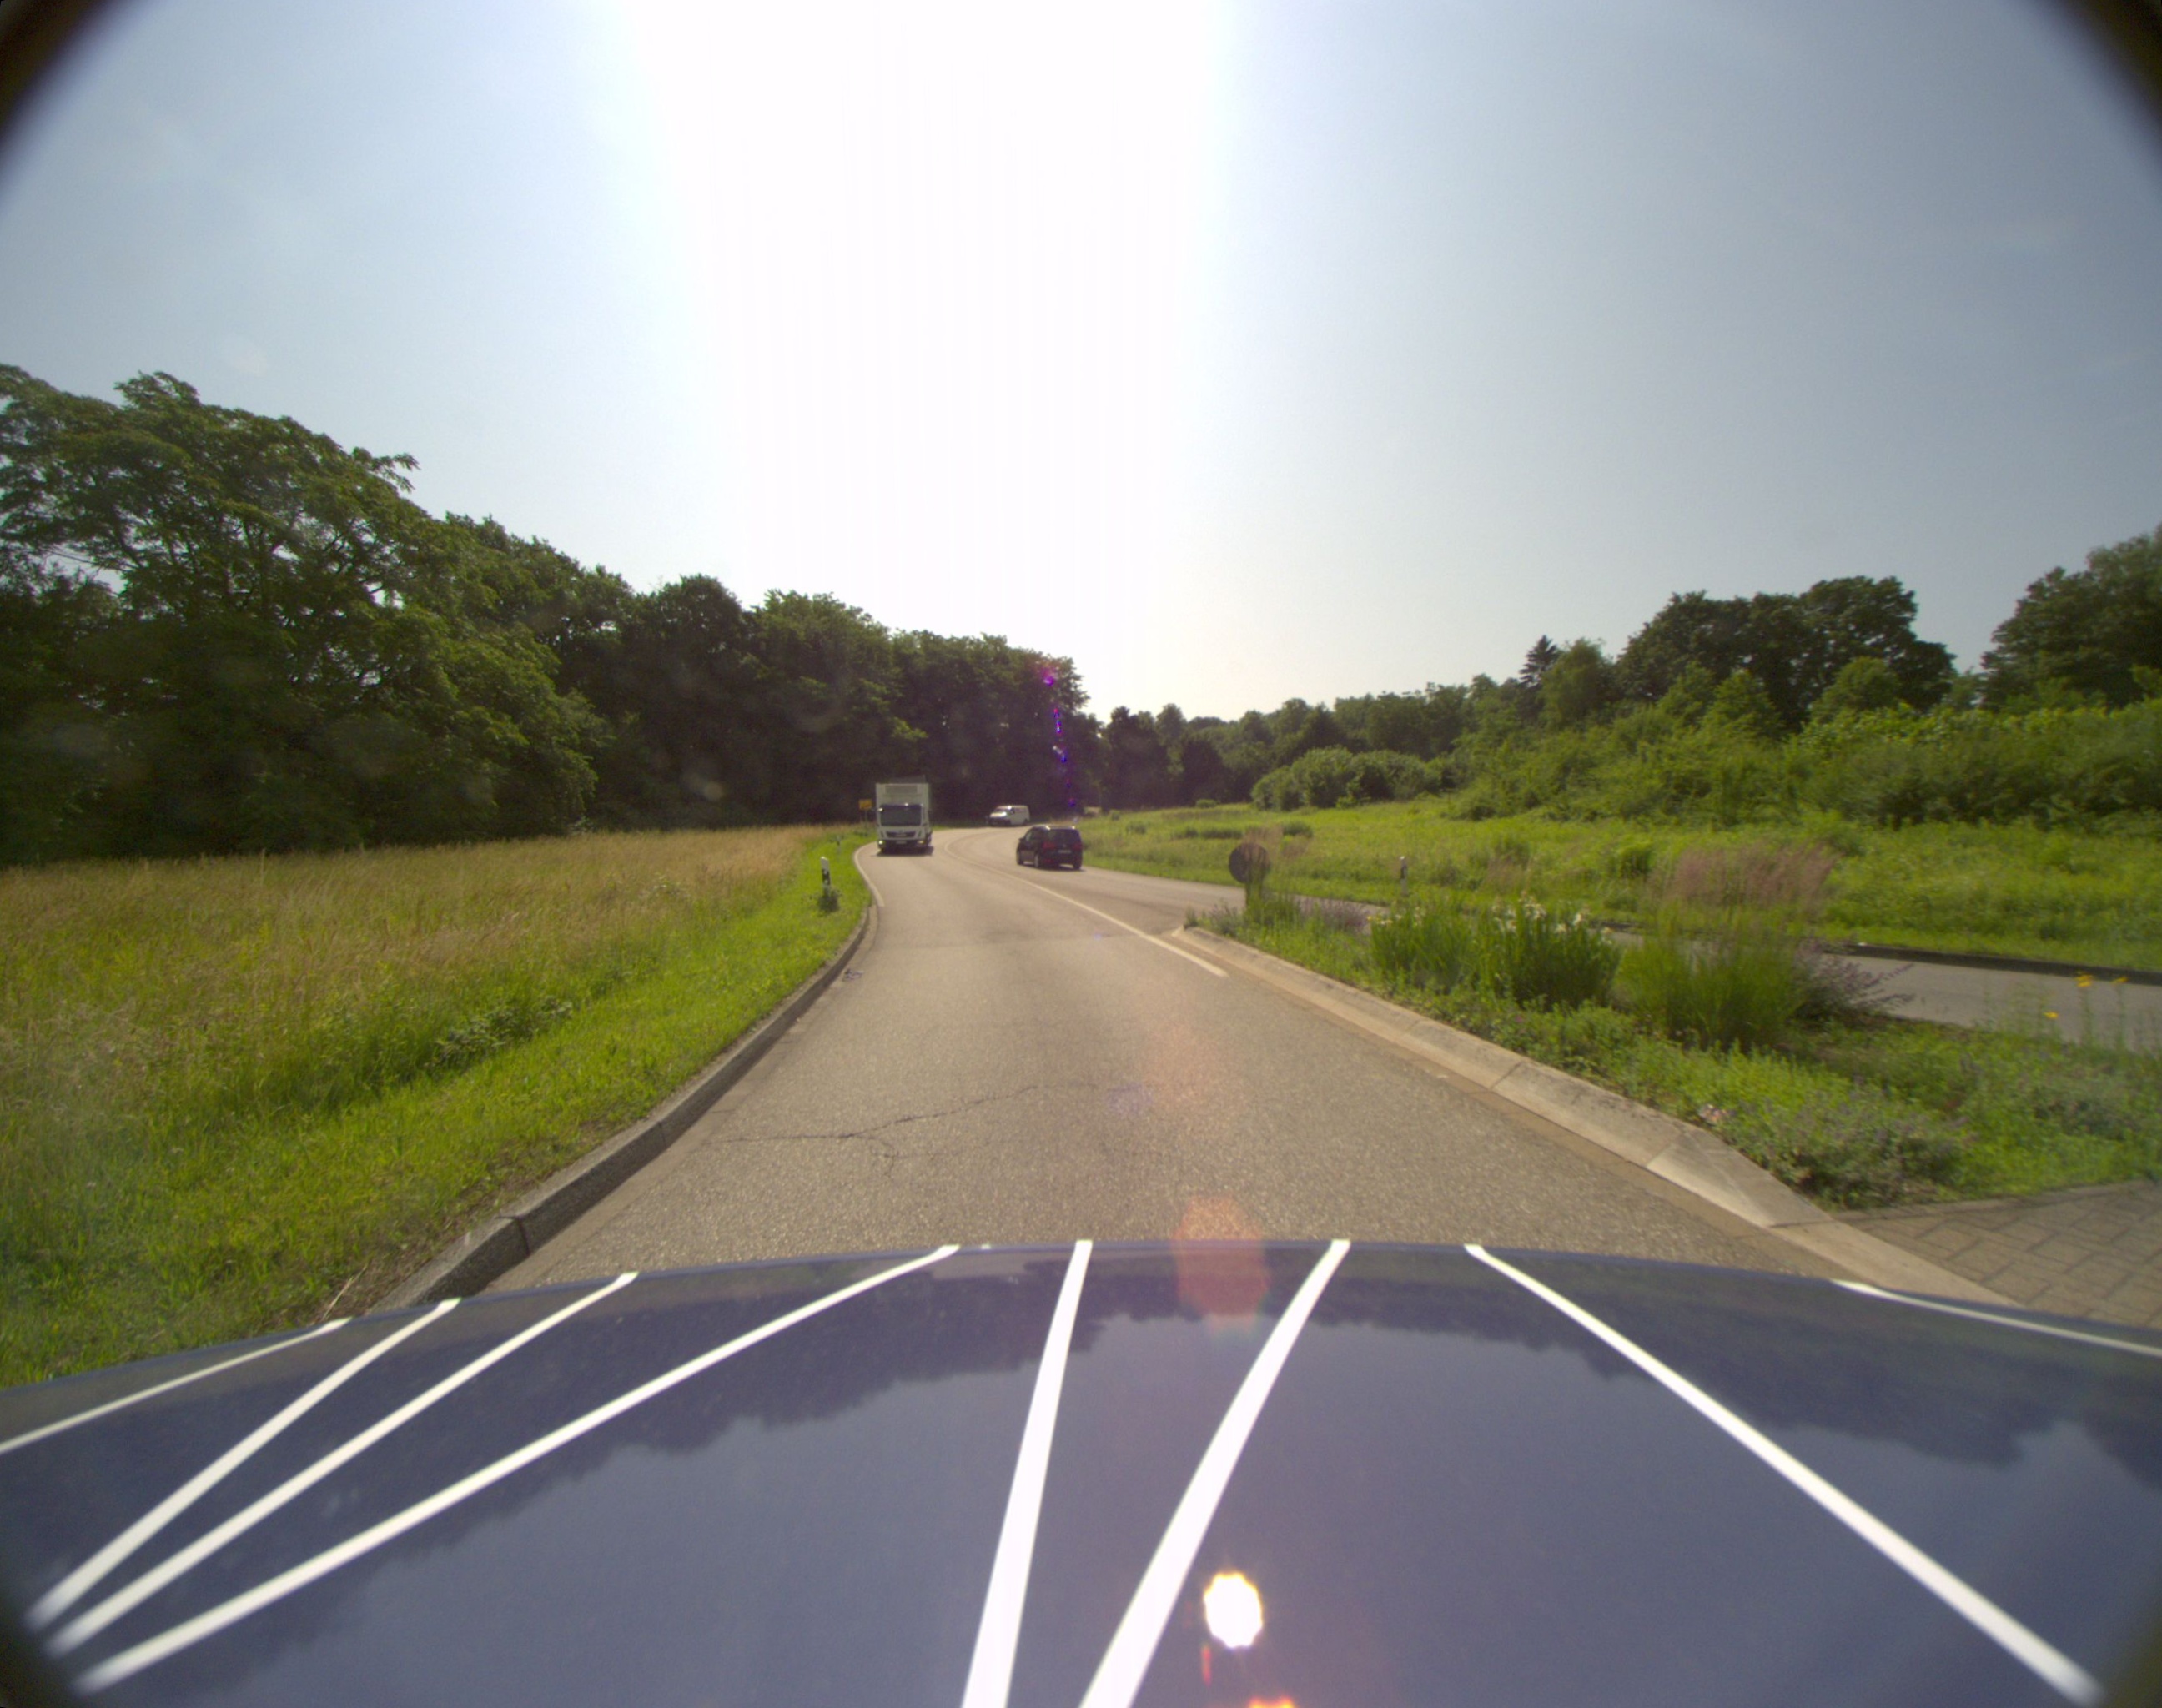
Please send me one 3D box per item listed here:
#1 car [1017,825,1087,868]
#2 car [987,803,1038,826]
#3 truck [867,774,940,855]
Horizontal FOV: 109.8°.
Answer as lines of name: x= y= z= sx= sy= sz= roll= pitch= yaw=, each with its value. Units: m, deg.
car: x=-1.237 y=-0.312 z=30.025 sx=1.914 sy=1.586 sz=4.367 roll=0 pitch=1 yaw=-14
car: x=-6.438 y=-3.768 z=71.951 sx=1.995 sy=2.003 sz=5.610 roll=-1 pitch=3 yaw=27
truck: x=-9.800 y=-2.053 z=41.166 sx=2.902 sy=3.808 sz=9.007 roll=-4 pitch=3 yaw=-18
